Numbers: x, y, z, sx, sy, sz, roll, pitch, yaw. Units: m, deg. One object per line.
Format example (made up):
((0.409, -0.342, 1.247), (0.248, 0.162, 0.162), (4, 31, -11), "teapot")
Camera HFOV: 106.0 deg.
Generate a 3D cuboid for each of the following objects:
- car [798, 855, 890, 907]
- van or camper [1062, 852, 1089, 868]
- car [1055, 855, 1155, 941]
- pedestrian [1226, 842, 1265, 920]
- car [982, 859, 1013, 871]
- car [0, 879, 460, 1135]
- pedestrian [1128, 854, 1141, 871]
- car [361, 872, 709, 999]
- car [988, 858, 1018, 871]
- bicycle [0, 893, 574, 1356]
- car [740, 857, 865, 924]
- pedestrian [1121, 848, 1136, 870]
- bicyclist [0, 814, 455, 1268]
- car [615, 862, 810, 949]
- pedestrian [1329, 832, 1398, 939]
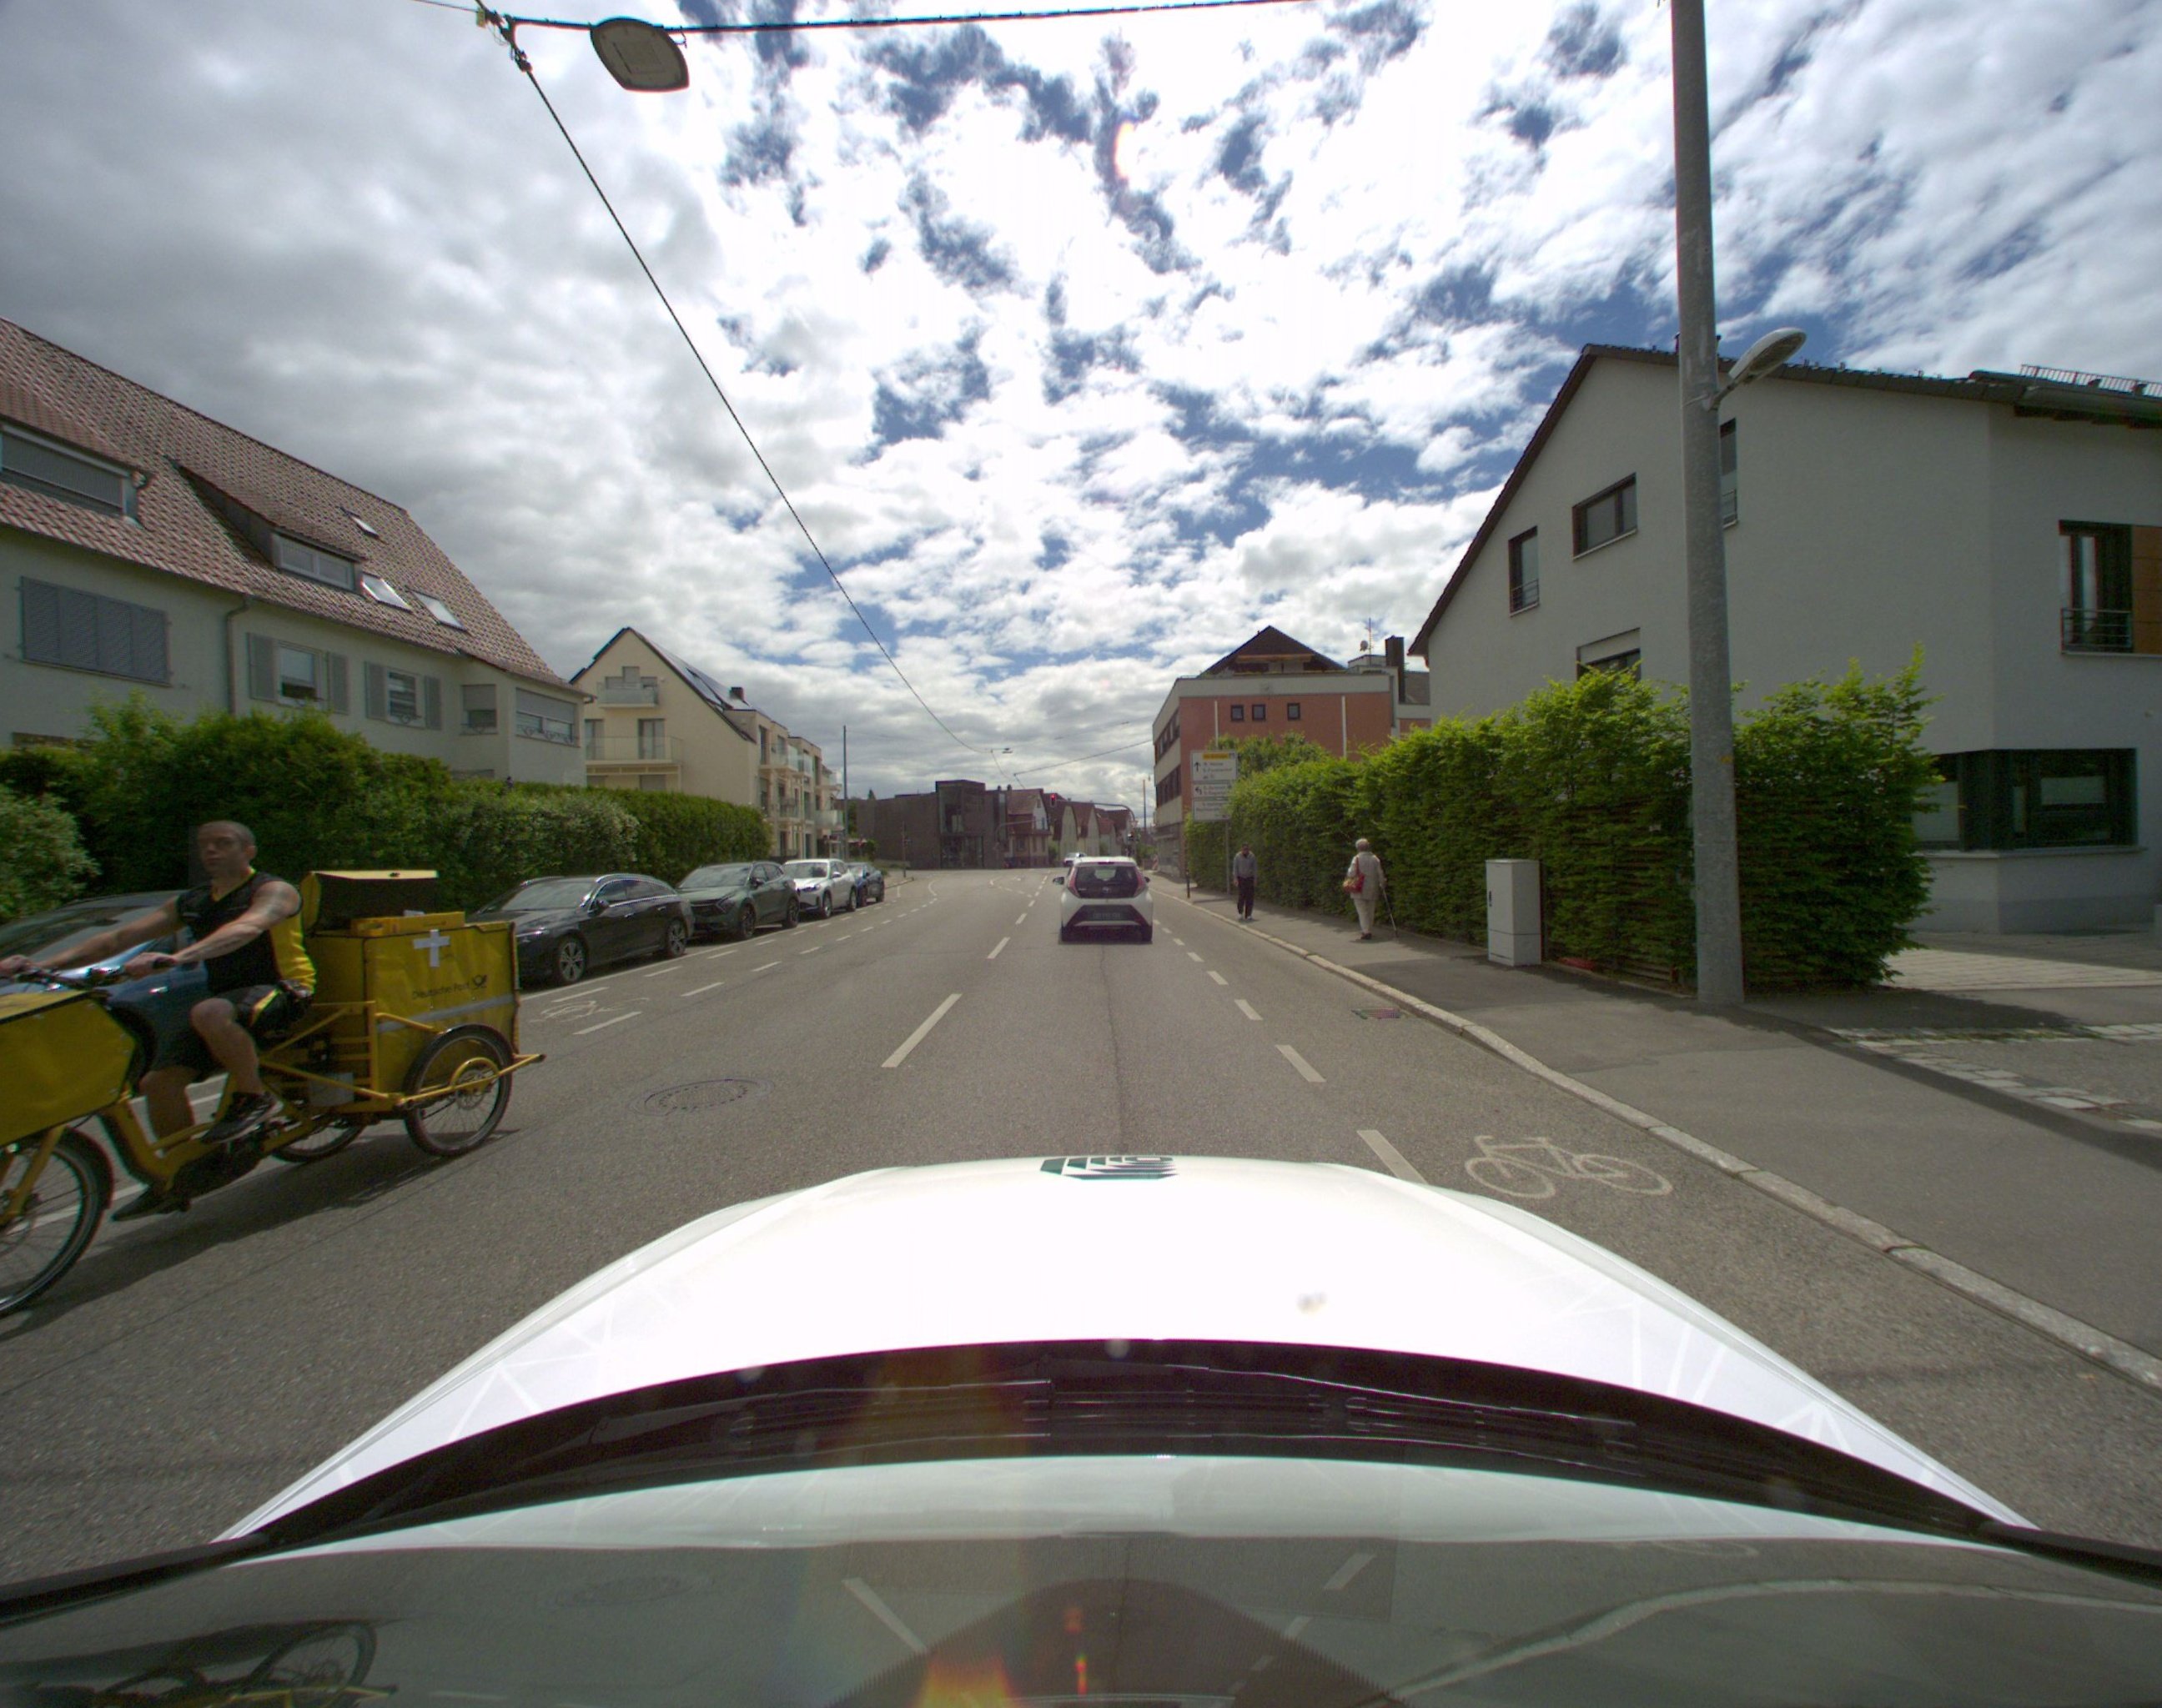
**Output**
((-8.108, 0.922, 28.287), (1.988, 1.587, 4.484), (-2, -2, -2), "car")
((-0.651, 0.748, 101.191), (2.100, 1.926, 5.305), (0, 0, 14), "van or camper")
((0.431, 0.753, 15.397), (1.691, 1.456, 3.299), (0, 0, 1), "car")
((3.558, 0.573, 17.678), (0.600, 1.605, 0.836), (-3, 0, 1), "pedestrian")
((-10.710, 1.416, 104.058), (3.591, 1.419, 1.696), (0, 0, 10), "car")
((-7.748, 1.045, 6.777), (1.773, 1.491, 4.561), (-2, 0, -3), "car")
((4.062, 0.642, 62.335), (0.738, 1.221, 0.639), (-1, 0, -31), "pedestrian")
((-7.798, 1.057, 12.376), (1.986, 1.408, 4.691), (-2, 0, 2), "car")
((-10.150, 1.339, 106.193), (3.591, 1.605, 1.696), (0, 0, 10), "car")
((-3.706, 0.909, 3.800), (0.860, 1.301, 2.664), (-2, 0, 3), "bicycle")
((-7.792, 0.950, 23.305), (1.987, 1.651, 4.516), (-2, 0, 0), "car")
((3.674, 0.378, 62.959), (0.827, 1.721, 0.809), (-1, 0, -31), "pedestrian")
((-3.756, 0.715, 3.704), (0.789, 1.713, 1.210), (-2, 0, 4), "bicyclist")
((-7.808, 0.999, 17.869), (1.986, 1.564, 4.691), (-2, 0, 2), "car")
((4.484, 0.487, 12.959), (0.796, 1.617, 0.653), (-3, 0, 0), "pedestrian")
